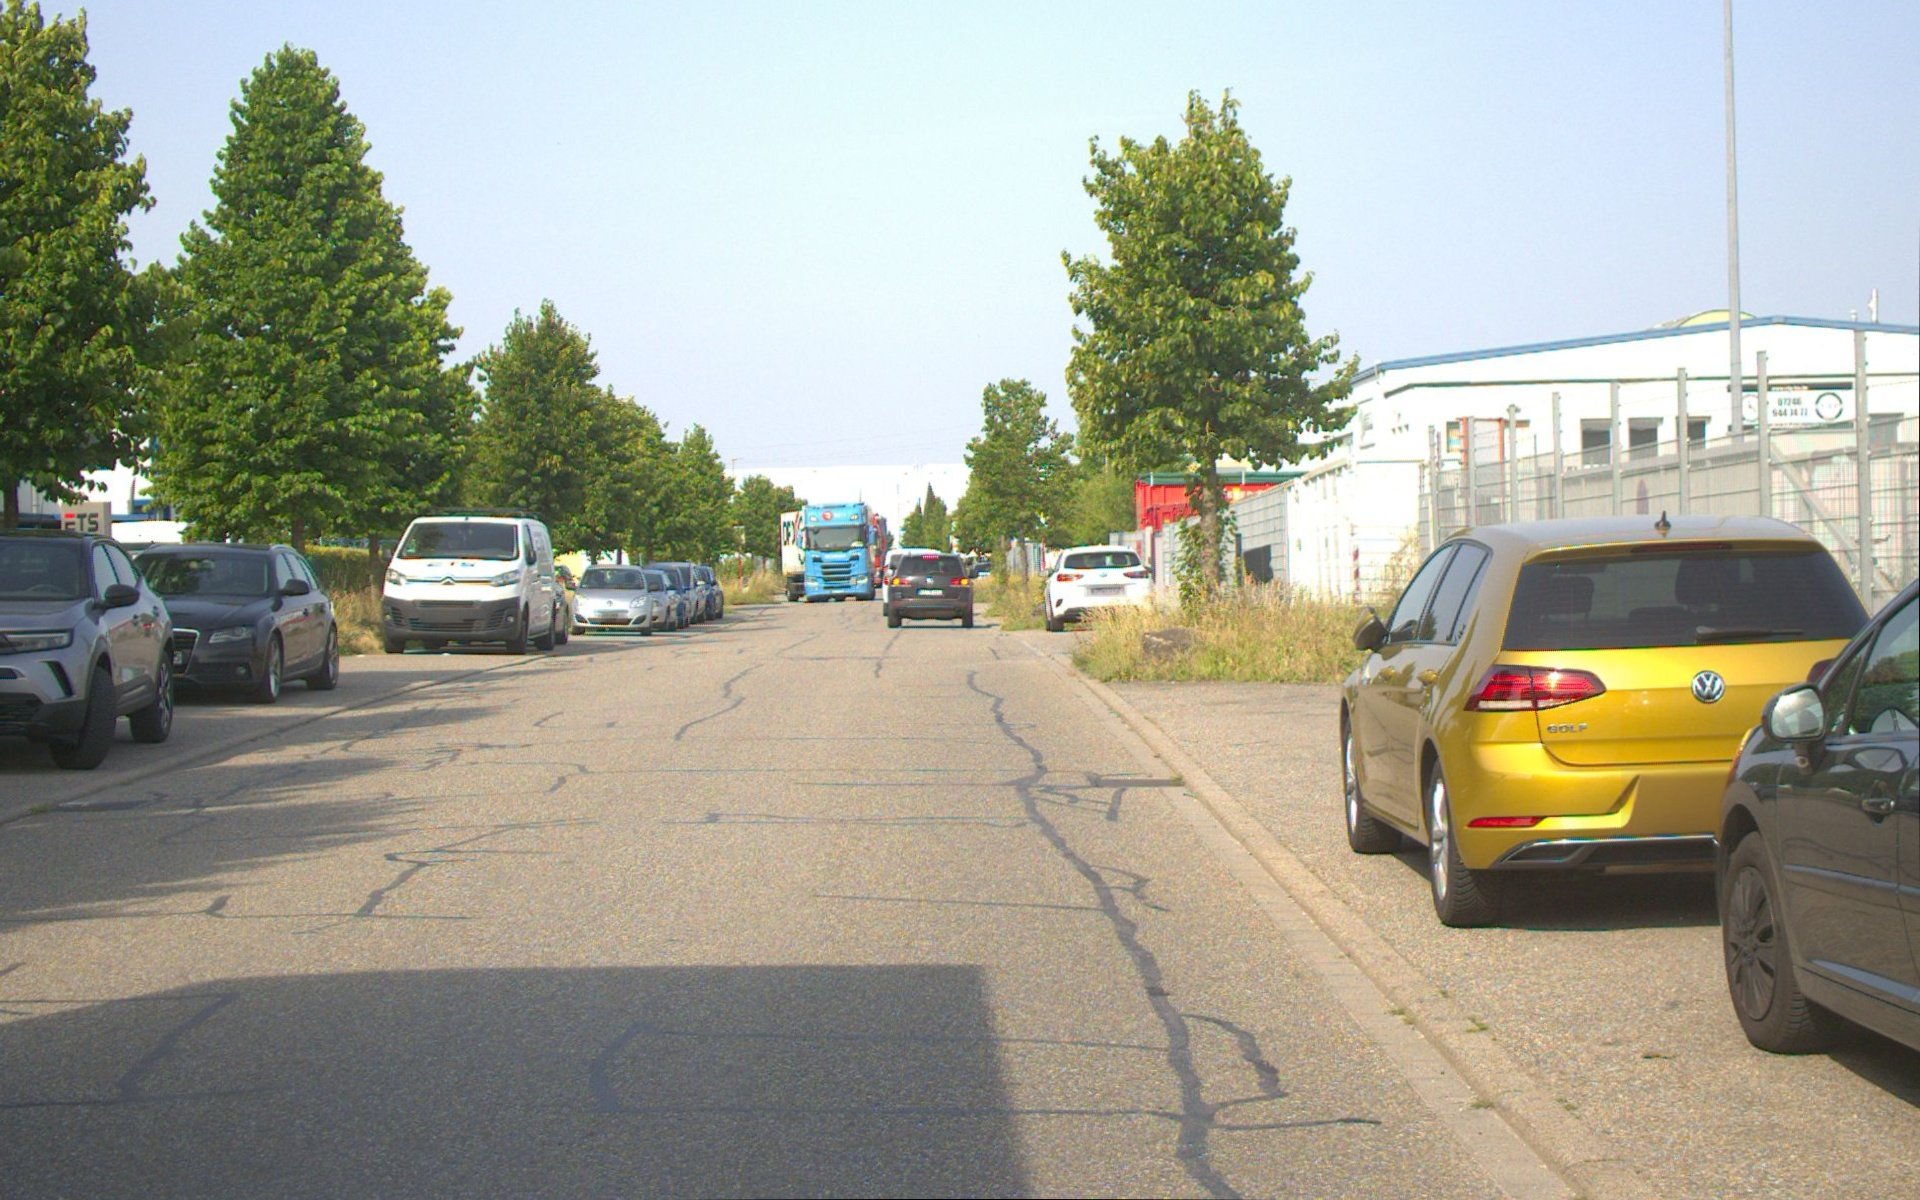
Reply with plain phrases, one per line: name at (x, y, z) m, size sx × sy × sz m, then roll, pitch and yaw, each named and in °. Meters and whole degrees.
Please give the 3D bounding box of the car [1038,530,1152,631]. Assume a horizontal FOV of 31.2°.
car at (2.302, -0.350, 59.449) m, size 1.714 × 1.674 × 3.950 m, roll -1°, pitch 1°, yaw -1°

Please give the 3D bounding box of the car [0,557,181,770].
car at (-6.441, 0.369, 23.313) m, size 1.833 × 1.283 × 4.050 m, roll 1°, pitch 1°, yaw -7°

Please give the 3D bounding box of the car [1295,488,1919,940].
car at (2.471, 0.346, 13.708) m, size 1.715 × 1.450 × 4.187 m, roll -3°, pitch 1°, yaw -1°

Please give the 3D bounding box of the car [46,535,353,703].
car at (-6.830, 0.122, 31.289) m, size 1.833 × 1.410 × 4.114 m, roll 1°, pitch 1°, yaw 1°

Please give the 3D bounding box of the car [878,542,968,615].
car at (-0.866, -0.490, 77.561) m, size 1.880 × 1.581 × 4.114 m, roll -1°, pitch 1°, yaw -2°

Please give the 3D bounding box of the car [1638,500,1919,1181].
car at (2.947, 0.495, 8.060) m, size 1.714 × 1.510 × 4.004 m, roll -3°, pitch 1°, yaw -2°

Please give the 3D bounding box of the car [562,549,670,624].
car at (-7.122, -0.302, 71.542) m, size 1.806 × 1.491 × 3.936 m, roll -1°, pitch 1°, yaw 1°

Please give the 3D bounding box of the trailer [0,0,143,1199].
trailer at (-3.238, -0.581, 3.930) m, size 2.498 × 4.131 × 8.497 m, roll -3°, pitch 1°, yaw -1°

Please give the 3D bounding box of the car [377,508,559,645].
car at (-6.633, -0.345, 46.719) m, size 1.833 × 1.756 × 4.049 m, roll 1°, pitch 1°, yaw 1°

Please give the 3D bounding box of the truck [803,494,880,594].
truck at (-4.585, -2.176, 133.219) m, size 2.878 × 3.748 × 6.084 m, roll -1°, pitch 1°, yaw -2°
